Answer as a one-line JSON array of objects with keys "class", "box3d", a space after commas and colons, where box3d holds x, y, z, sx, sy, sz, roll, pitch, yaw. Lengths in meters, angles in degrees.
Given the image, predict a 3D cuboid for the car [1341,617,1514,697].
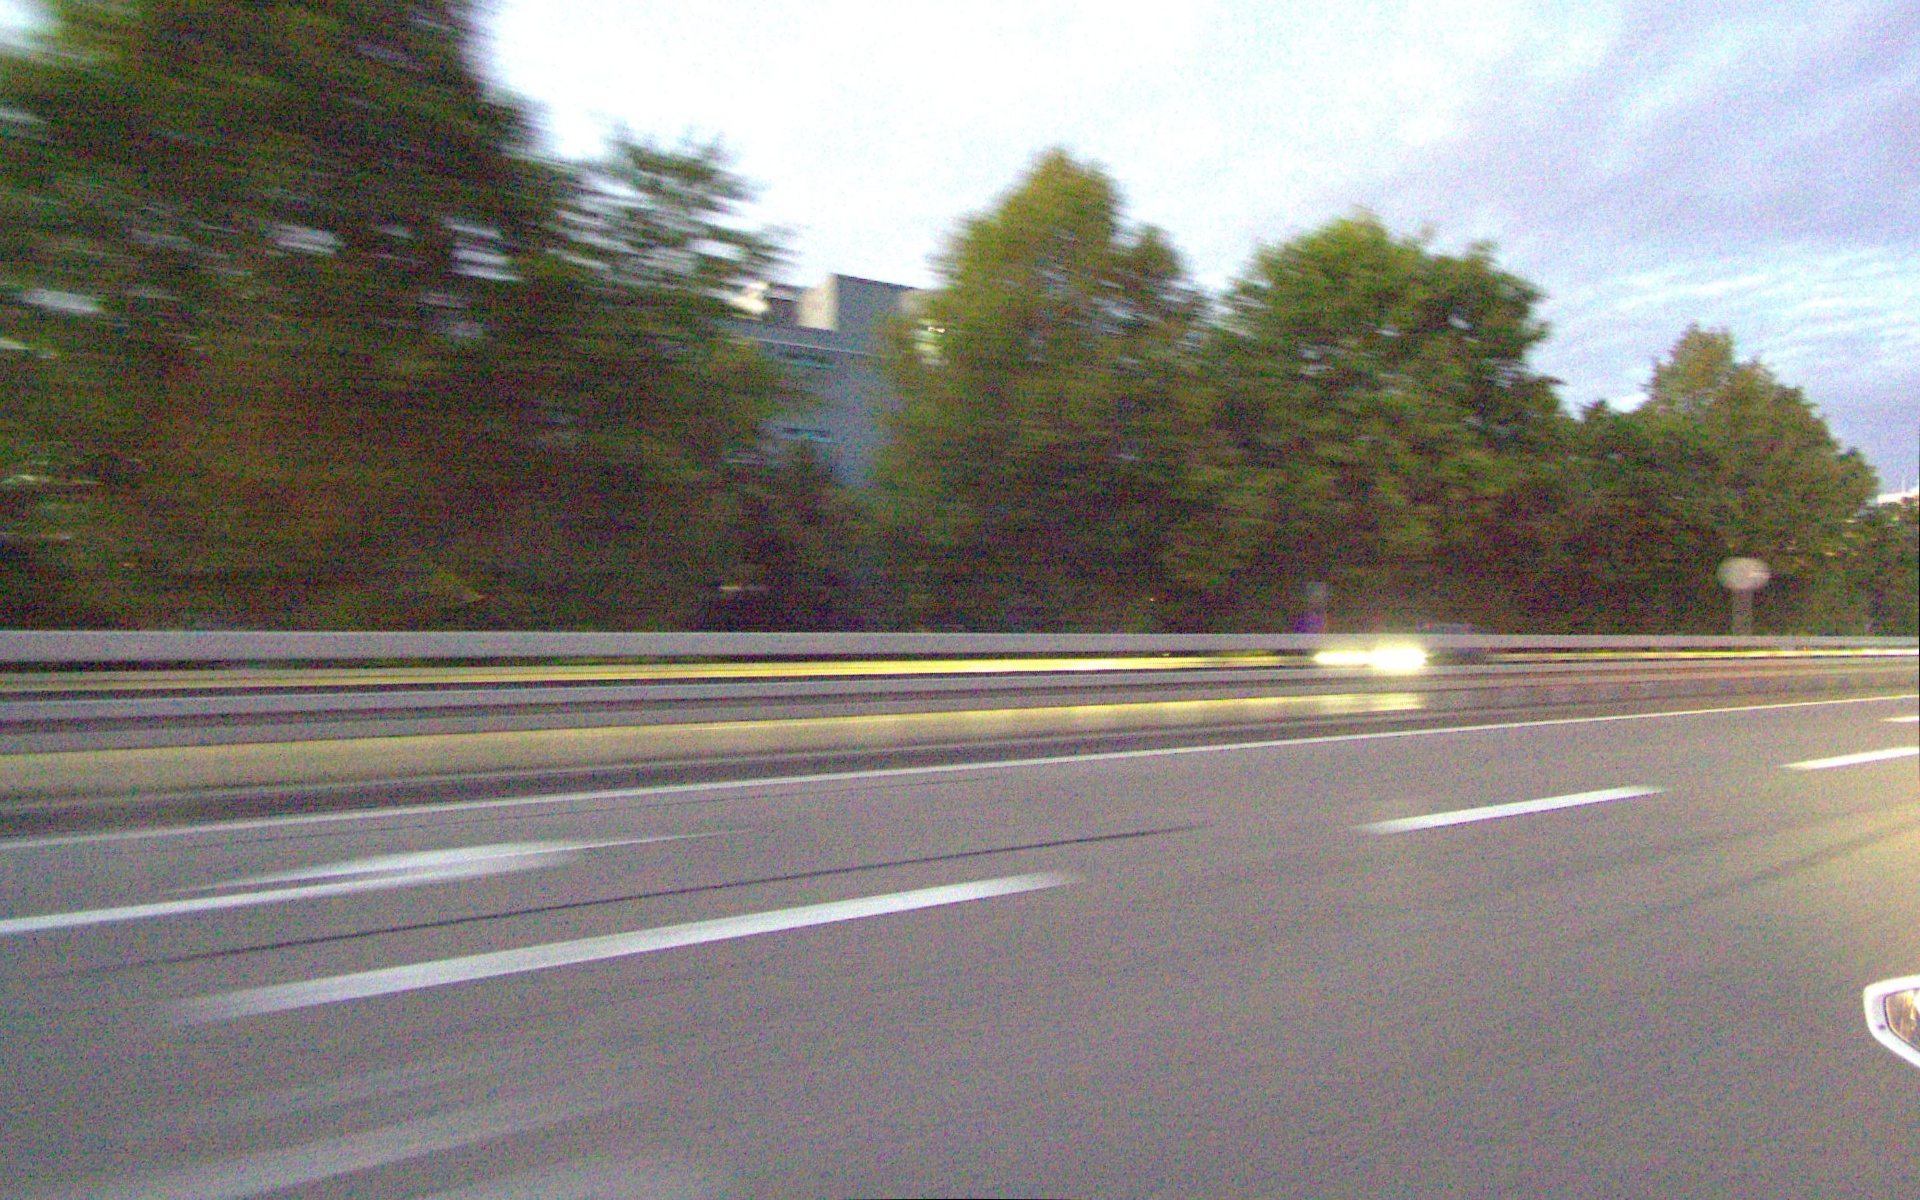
[{"class": "car", "box3d": [11.123, 1.316, 23.836, 4.266, 1.746, 1.605, 2, 0, -31]}]
